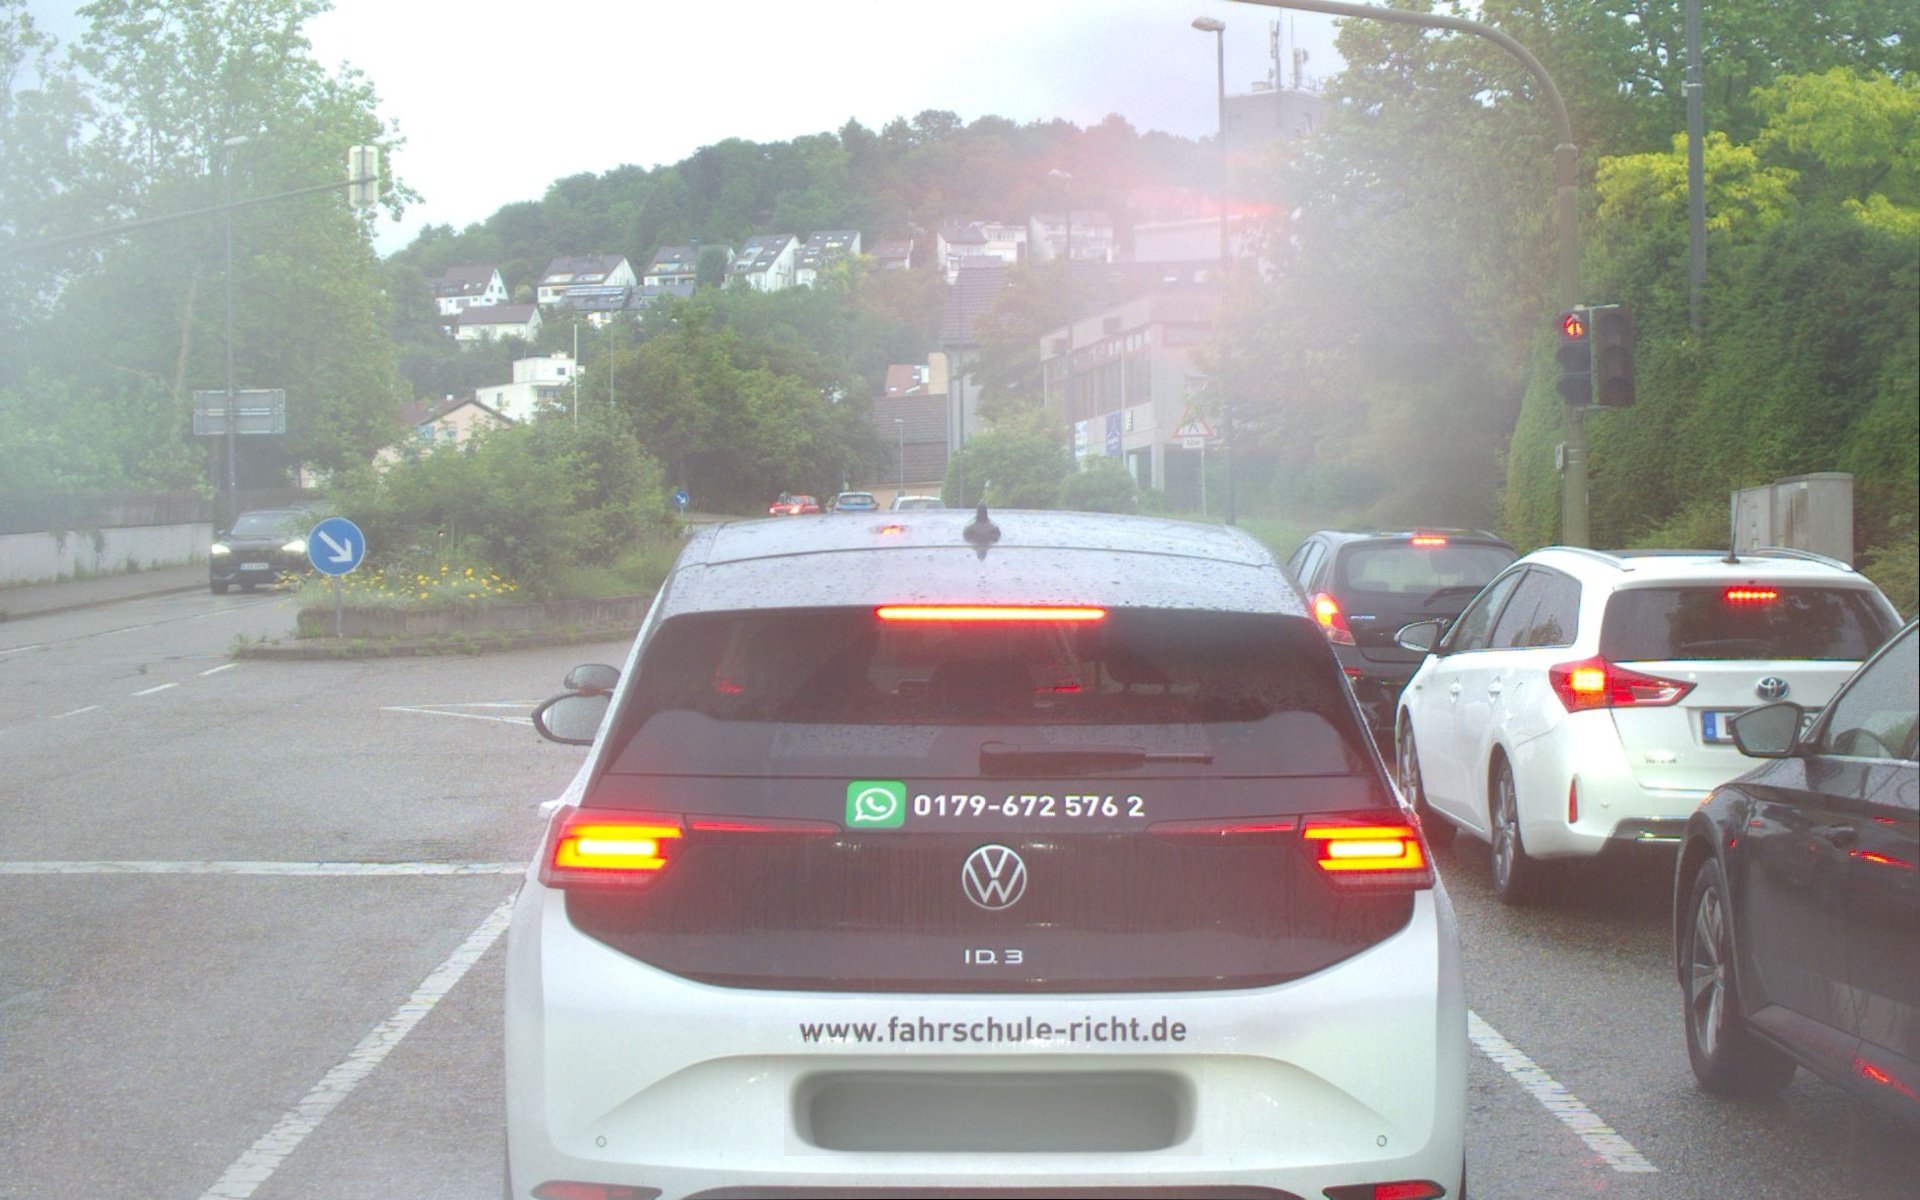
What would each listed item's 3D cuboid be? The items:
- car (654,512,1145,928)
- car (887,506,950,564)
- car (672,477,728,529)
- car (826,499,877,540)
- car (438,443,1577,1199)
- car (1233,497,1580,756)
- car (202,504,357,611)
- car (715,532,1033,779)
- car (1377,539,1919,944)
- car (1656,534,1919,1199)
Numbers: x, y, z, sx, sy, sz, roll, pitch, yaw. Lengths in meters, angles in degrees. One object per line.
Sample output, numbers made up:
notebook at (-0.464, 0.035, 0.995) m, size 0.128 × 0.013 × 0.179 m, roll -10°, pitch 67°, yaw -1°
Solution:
car at (-0.274, 0.408, 15.192) m, size 1.837 × 1.549 × 4.175 m, roll 1°, pitch 1°, yaw -1°
car at (-1.109, -1.690, 90.569) m, size 1.581 × 1.462 × 4.000 m, roll -1°, pitch 1°, yaw -1°
car at (-10.595, -3.937, 140.334) m, size 1.993 × 2.007 × 4.000 m, roll 1°, pitch 0°, yaw 0°
car at (-3.962, -2.917, 124.730) m, size 1.761 × 1.413 × 3.749 m, roll -1°, pitch 2°, yaw -3°
car at (0.026, 0.519, 7.939) m, size 1.837 × 1.623 × 4.616 m, roll 1°, pitch 1°, yaw -1°
car at (2.936, 0.138, 23.374) m, size 1.775 × 1.576 × 4.000 m, roll 1°, pitch 1°, yaw 0°
car at (-12.441, -0.786, 63.111) m, size 1.993 × 1.798 × 4.000 m, roll -3°, pitch 1°, yaw 0°
car at (-0.542, 0.287, 22.104) m, size 1.837 × 1.395 × 3.831 m, roll 1°, pitch 1°, yaw -1°
car at (3.040, 0.500, 14.962) m, size 1.837 × 1.461 × 4.117 m, roll 1°, pitch 1°, yaw -1°
car at (2.861, 0.618, 7.471) m, size 1.838 × 1.461 × 4.350 m, roll 1°, pitch 1°, yaw 1°
